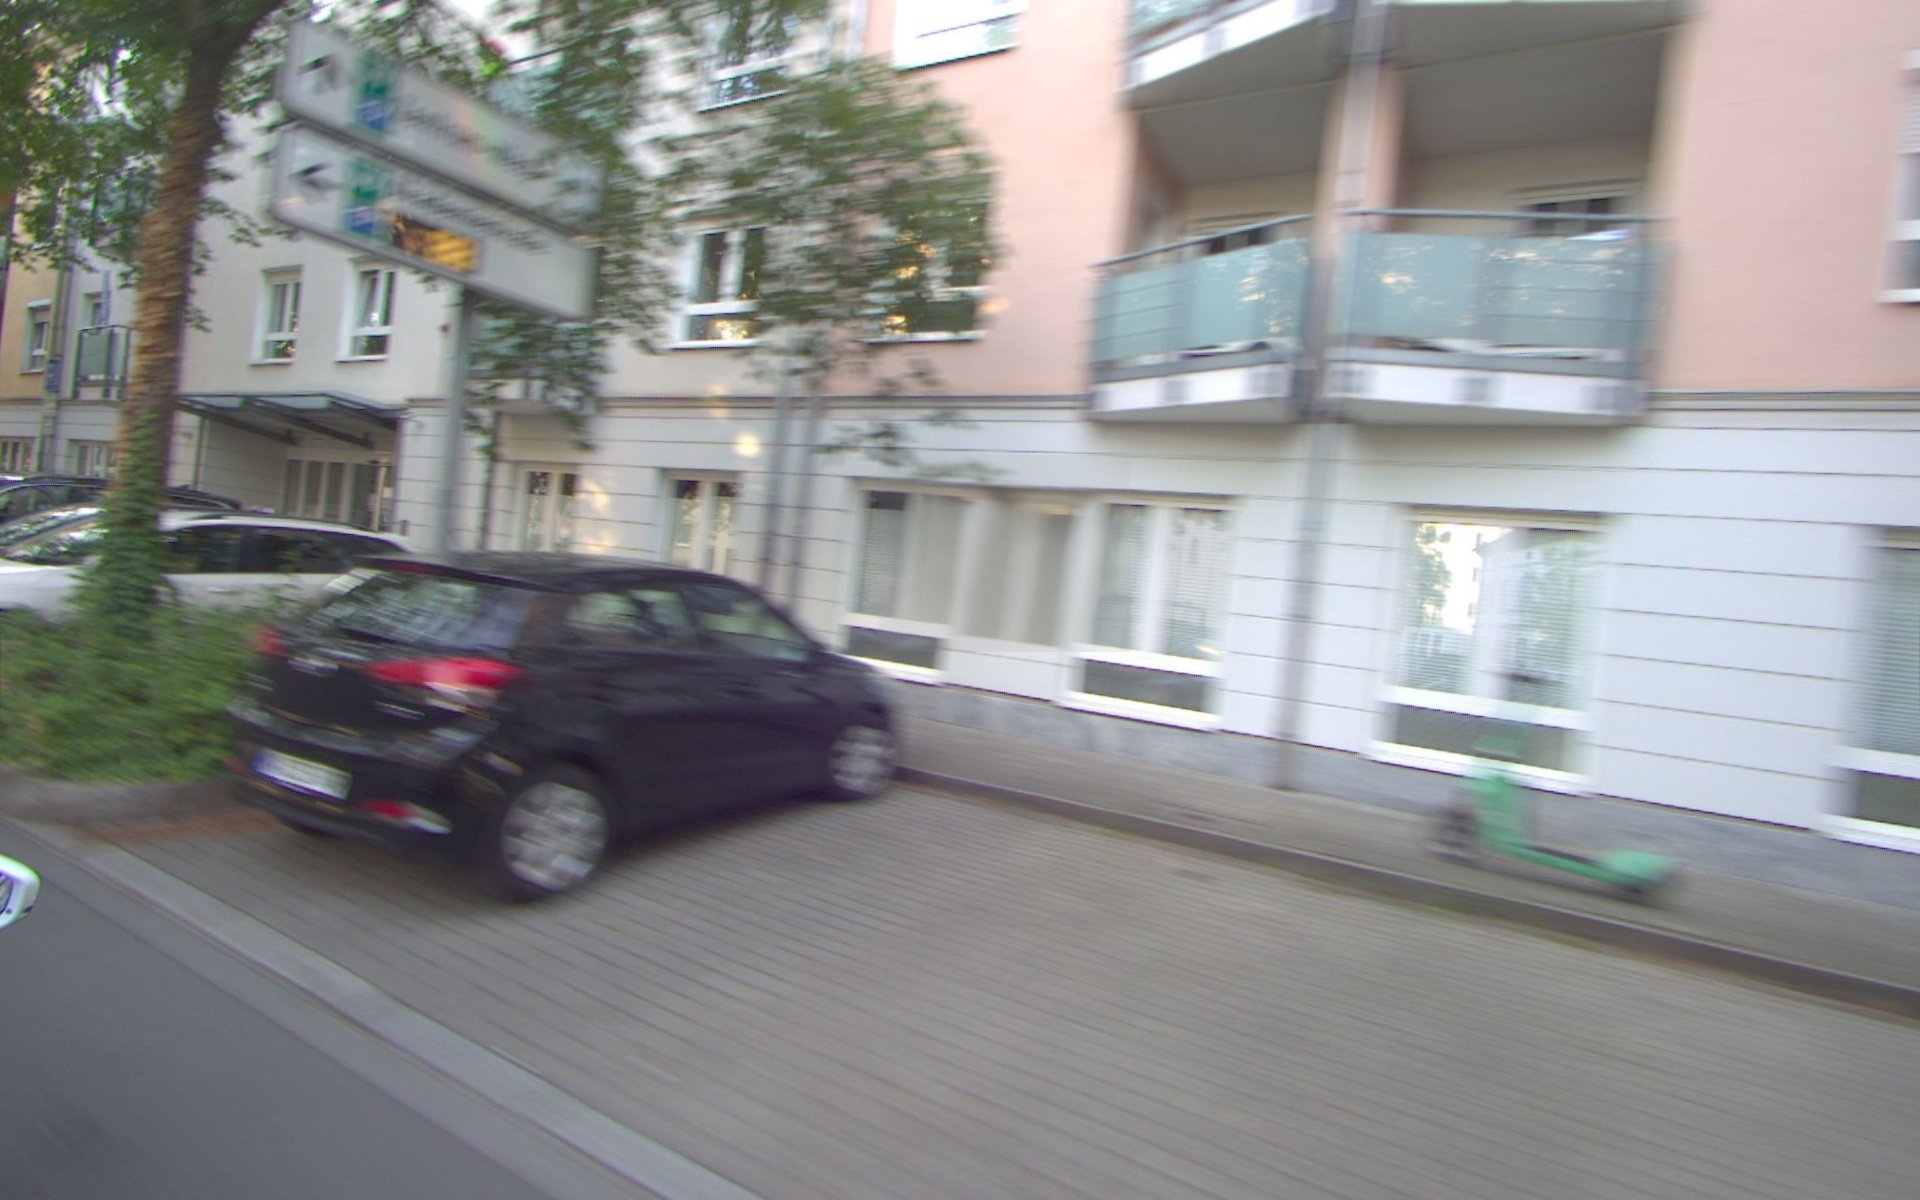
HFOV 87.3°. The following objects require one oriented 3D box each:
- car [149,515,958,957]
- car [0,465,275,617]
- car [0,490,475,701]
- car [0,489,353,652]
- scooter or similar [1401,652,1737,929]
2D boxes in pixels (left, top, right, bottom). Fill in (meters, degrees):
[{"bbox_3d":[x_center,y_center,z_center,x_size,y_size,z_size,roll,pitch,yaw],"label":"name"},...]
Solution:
[{"bbox_3d":[-1.802,0.480,5.844,1.900,1.471,4.088,7,2,25],"label":"car"},{"bbox_3d":[-11.037,-0.729,11.722,1.975,1.639,4.646,7,3,27],"label":"car"},{"bbox_3d":[-6.907,-0.075,8.745,1.766,1.488,4.602,7,2,30],"label":"car"},{"bbox_3d":[-8.938,-0.329,10.320,1.898,1.458,4.221,7,3,32],"label":"car"},{"bbox_3d":[3.372,1.000,5.712,1.430,1.219,0.655,7,3,28],"label":"scooter or similar"}]
